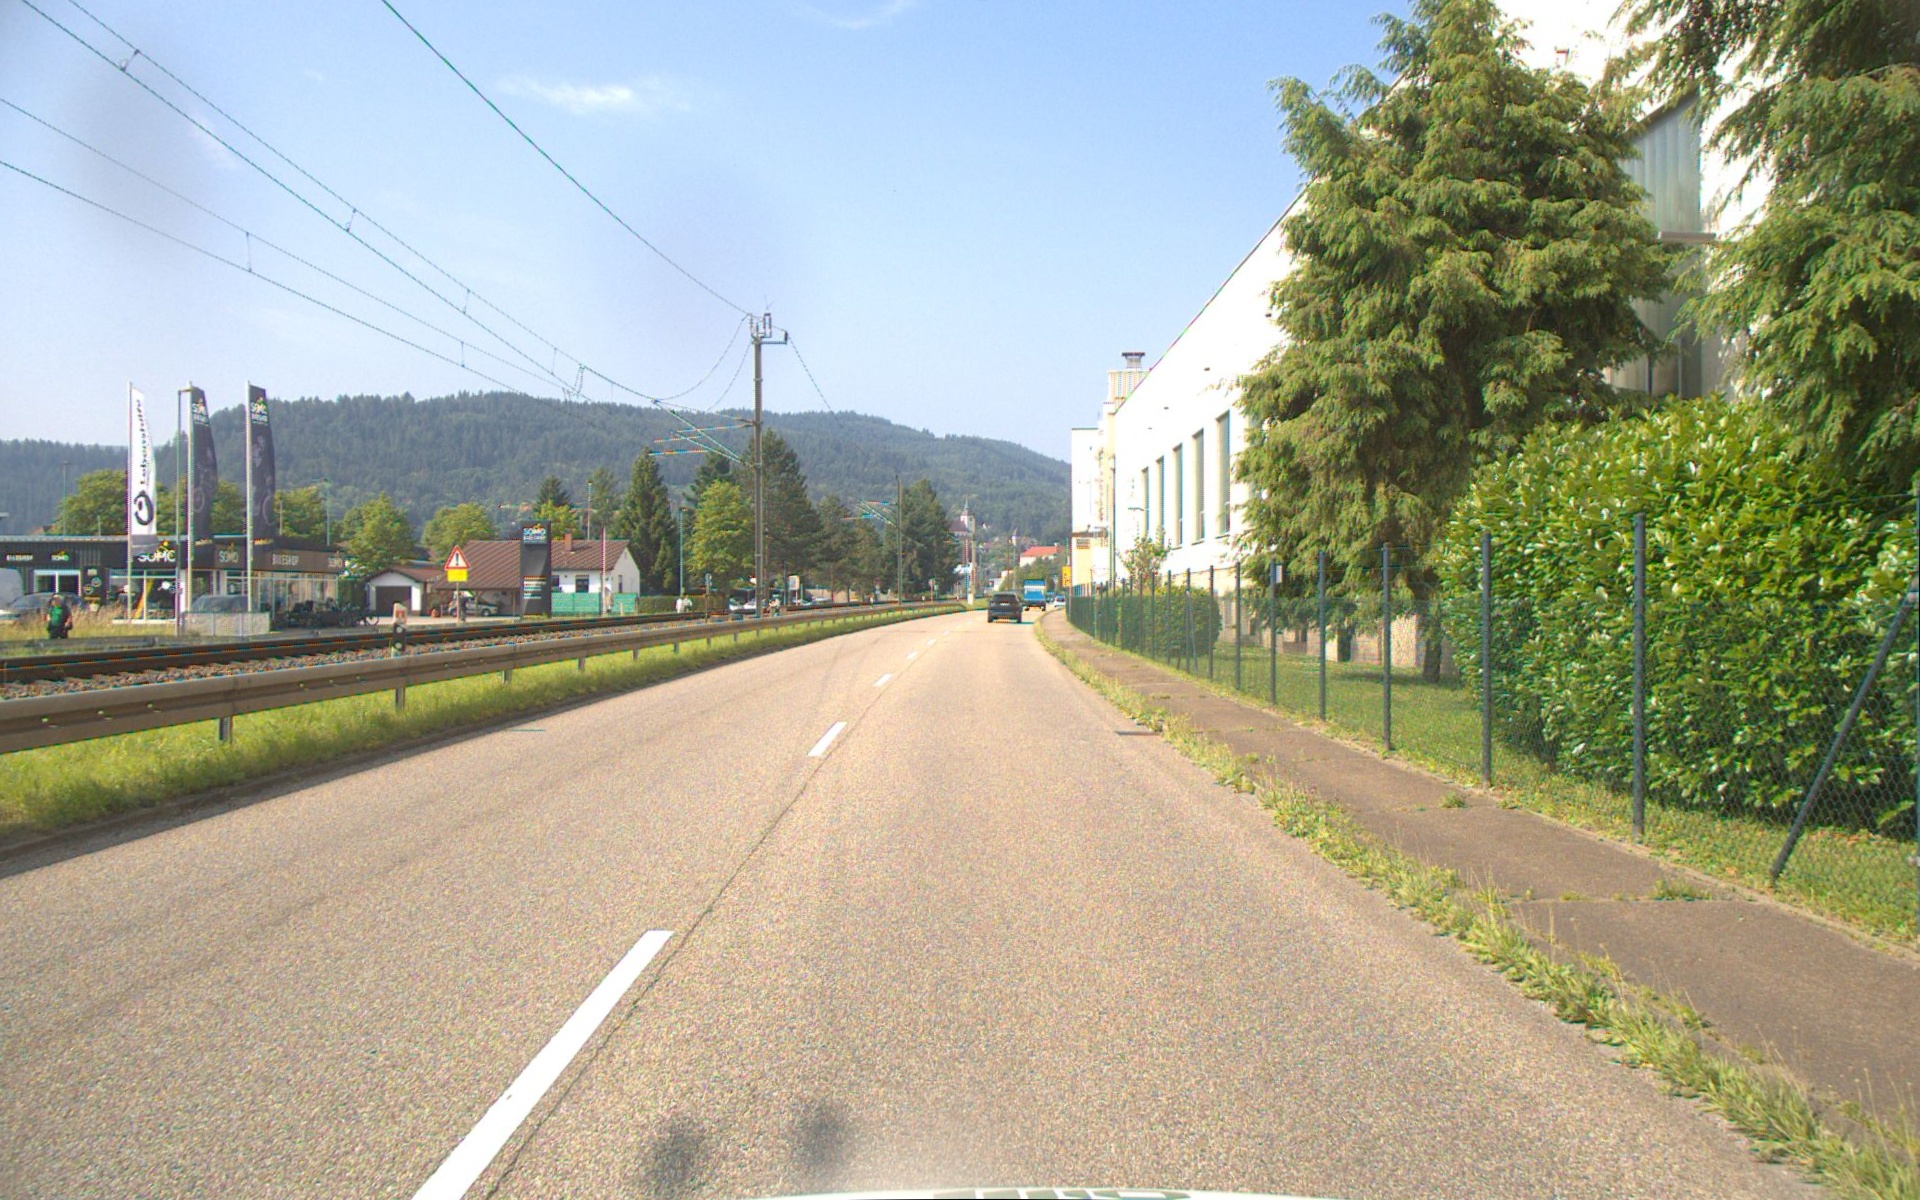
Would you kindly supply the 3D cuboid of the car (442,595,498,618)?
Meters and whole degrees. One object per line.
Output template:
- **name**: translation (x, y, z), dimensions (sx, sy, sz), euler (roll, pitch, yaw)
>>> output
- **car**: translation (-37.196, 0.489, 125.585), dimensions (3.755, 1.680, 1.713), euler (-1, 0, 4)

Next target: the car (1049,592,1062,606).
- **car**: translation (13.155, -0.169, 227.110), dimensions (1.631, 1.855, 3.754), euler (0, 0, 6)

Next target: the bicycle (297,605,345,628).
- **bicycle**: translation (-32.026, 0.820, 82.929), dimensions (2.127, 1.150, 0.729), euler (0, -1, -9)

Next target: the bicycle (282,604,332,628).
- **bicycle**: translation (-32.013, 0.787, 81.110), dimensions (2.122, 1.150, 0.730), euler (0, -1, 0)

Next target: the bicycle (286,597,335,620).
- **bicycle**: translation (-32.206, 0.428, 82.039), dimensions (2.127, 1.150, 0.729), euler (0, -1, -9)

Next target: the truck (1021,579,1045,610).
- **truck**: translation (7.287, -0.512, 164.750), dimensions (2.264, 3.022, 5.968), euler (0, 0, 3)

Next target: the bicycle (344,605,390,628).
- **bicycle**: translation (-30.407, 0.838, 84.847), dimensions (2.127, 1.150, 0.729), euler (0, -1, -9)

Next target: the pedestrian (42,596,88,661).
- **pedestrian**: translation (-24.451, 0.775, 45.188), dimensions (0.785, 1.765, 0.835), euler (0, 0, 0)

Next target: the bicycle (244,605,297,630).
- **bicycle**: translation (-31.607, 0.810, 75.803), dimensions (2.122, 1.150, 0.730), euler (0, -1, 0)

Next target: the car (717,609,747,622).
- **car**: translation (-25.127, 1.690, 182.318), dimensions (1.671, 1.469, 3.799), euler (0, 0, -38)

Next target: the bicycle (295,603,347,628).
- **bicycle**: translation (-30.279, 0.714, 78.357), dimensions (0.715, 1.150, 2.314), euler (-1, -1, 35)

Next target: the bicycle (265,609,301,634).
- **bicycle**: translation (-32.047, 1.003, 78.276), dimensions (0.712, 1.150, 2.175), euler (0, 0, 3)

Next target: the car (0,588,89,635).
- **car**: translation (-34.786, 0.474, 62.386), dimensions (1.830, 1.693, 3.998), euler (0, -1, -2)

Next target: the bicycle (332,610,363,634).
- **bicycle**: translation (-30.100, 1.093, 81.261), dimensions (0.713, 1.150, 2.174), euler (0, 0, 0)

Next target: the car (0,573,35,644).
- **car**: translation (-37.642, 0.290, 62.214), dimensions (2.325, 2.679, 6.158), euler (0, -2, -1)

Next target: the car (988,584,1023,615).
- **car**: translation (2.542, -0.043, 91.226), dimensions (1.879, 1.668, 4.001), euler (0, 0, 2)

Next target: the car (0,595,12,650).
- **car**: translation (-29.461, 0.515, 47.251), dimensions (3.953, 1.557, 1.505), euler (5, -3, -35)
